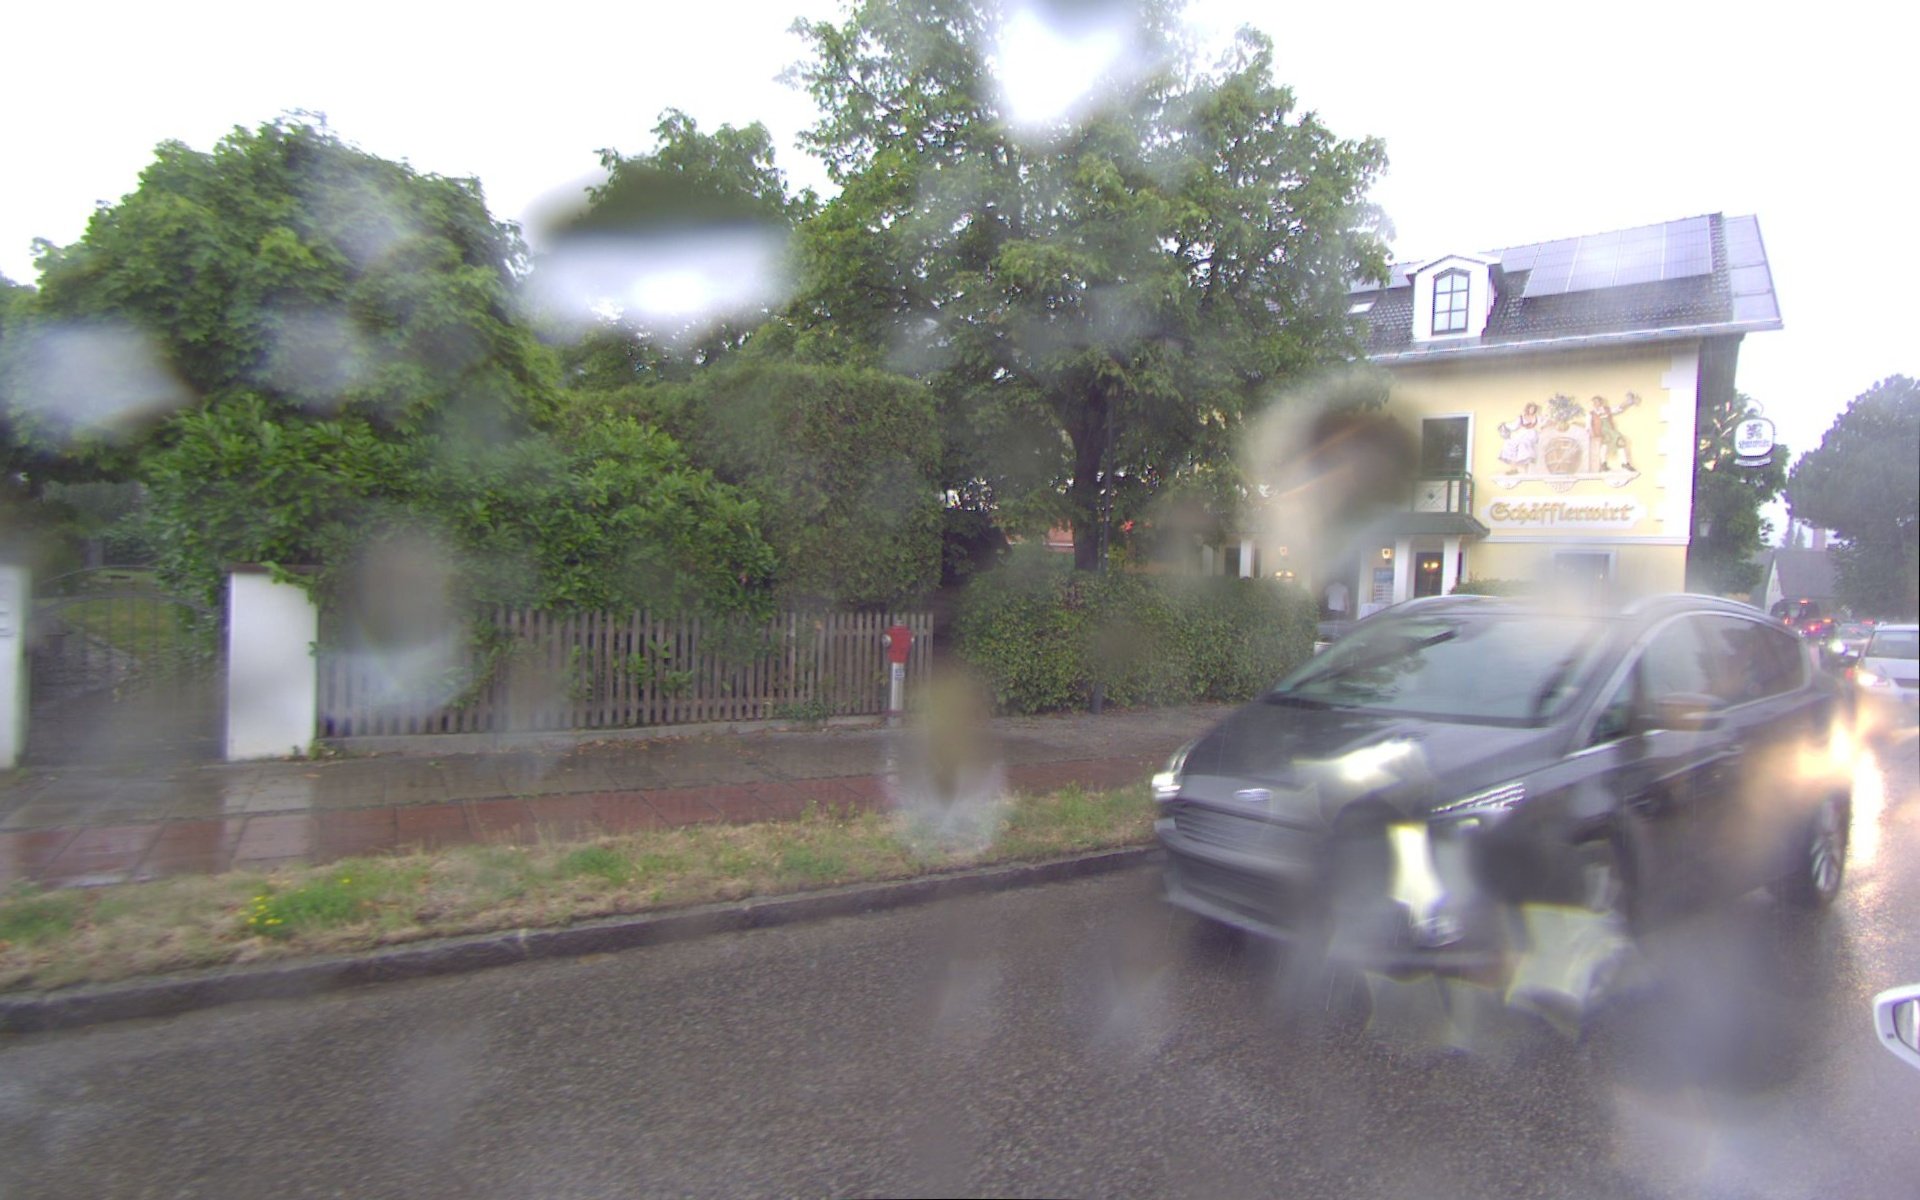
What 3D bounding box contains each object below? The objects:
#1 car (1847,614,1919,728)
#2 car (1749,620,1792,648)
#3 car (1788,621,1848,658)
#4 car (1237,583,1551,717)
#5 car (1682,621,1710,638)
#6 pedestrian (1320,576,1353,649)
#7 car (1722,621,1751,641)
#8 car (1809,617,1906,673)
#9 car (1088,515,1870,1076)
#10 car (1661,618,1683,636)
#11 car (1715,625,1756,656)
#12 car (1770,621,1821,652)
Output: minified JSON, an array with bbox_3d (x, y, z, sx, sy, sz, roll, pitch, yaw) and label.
[{"bbox_3d":[15.752,1.119,16.396,1.735,1.700,3.976,0,-2,44],"label":"car"},{"bbox_3d":[63.791,2.654,79.164,2.139,1.925,4.999,3,2,34],"label":"car"},{"bbox_3d":[51.693,2.346,60.618,2.139,1.925,4.999,3,2,34],"label":"car"},{"bbox_3d":[7.051,0.692,16.503,4.413,1.589,1.834,6,5,33],"label":"car"},{"bbox_3d":[66.204,2.619,90.418,1.837,1.377,4.470,0,0,33],"label":"car"},{"bbox_3d":[9.153,0.295,24.446,0.484,1.712,0.552,6,4,38],"label":"pedestrian"},{"bbox_3d":[87.612,3.472,113.367,2.139,1.925,4.999,3,2,34],"label":"car"},{"bbox_3d":[28.340,1.396,31.813,1.563,1.631,3.532,1,-1,30],"label":"car"},{"bbox_3d":[2.844,0.684,5.173,4.150,1.767,1.910,2,-2,-35],"label":"car"},{"bbox_3d":[75.589,2.875,106.643,1.838,1.781,4.468,-2,-2,35],"label":"car"},{"bbox_3d":[52.828,2.756,68.493,1.825,1.997,4.690,0,-1,33],"label":"car"},{"bbox_3d":[58.223,2.510,70.079,2.139,1.925,4.999,3,2,34],"label":"car"}]
